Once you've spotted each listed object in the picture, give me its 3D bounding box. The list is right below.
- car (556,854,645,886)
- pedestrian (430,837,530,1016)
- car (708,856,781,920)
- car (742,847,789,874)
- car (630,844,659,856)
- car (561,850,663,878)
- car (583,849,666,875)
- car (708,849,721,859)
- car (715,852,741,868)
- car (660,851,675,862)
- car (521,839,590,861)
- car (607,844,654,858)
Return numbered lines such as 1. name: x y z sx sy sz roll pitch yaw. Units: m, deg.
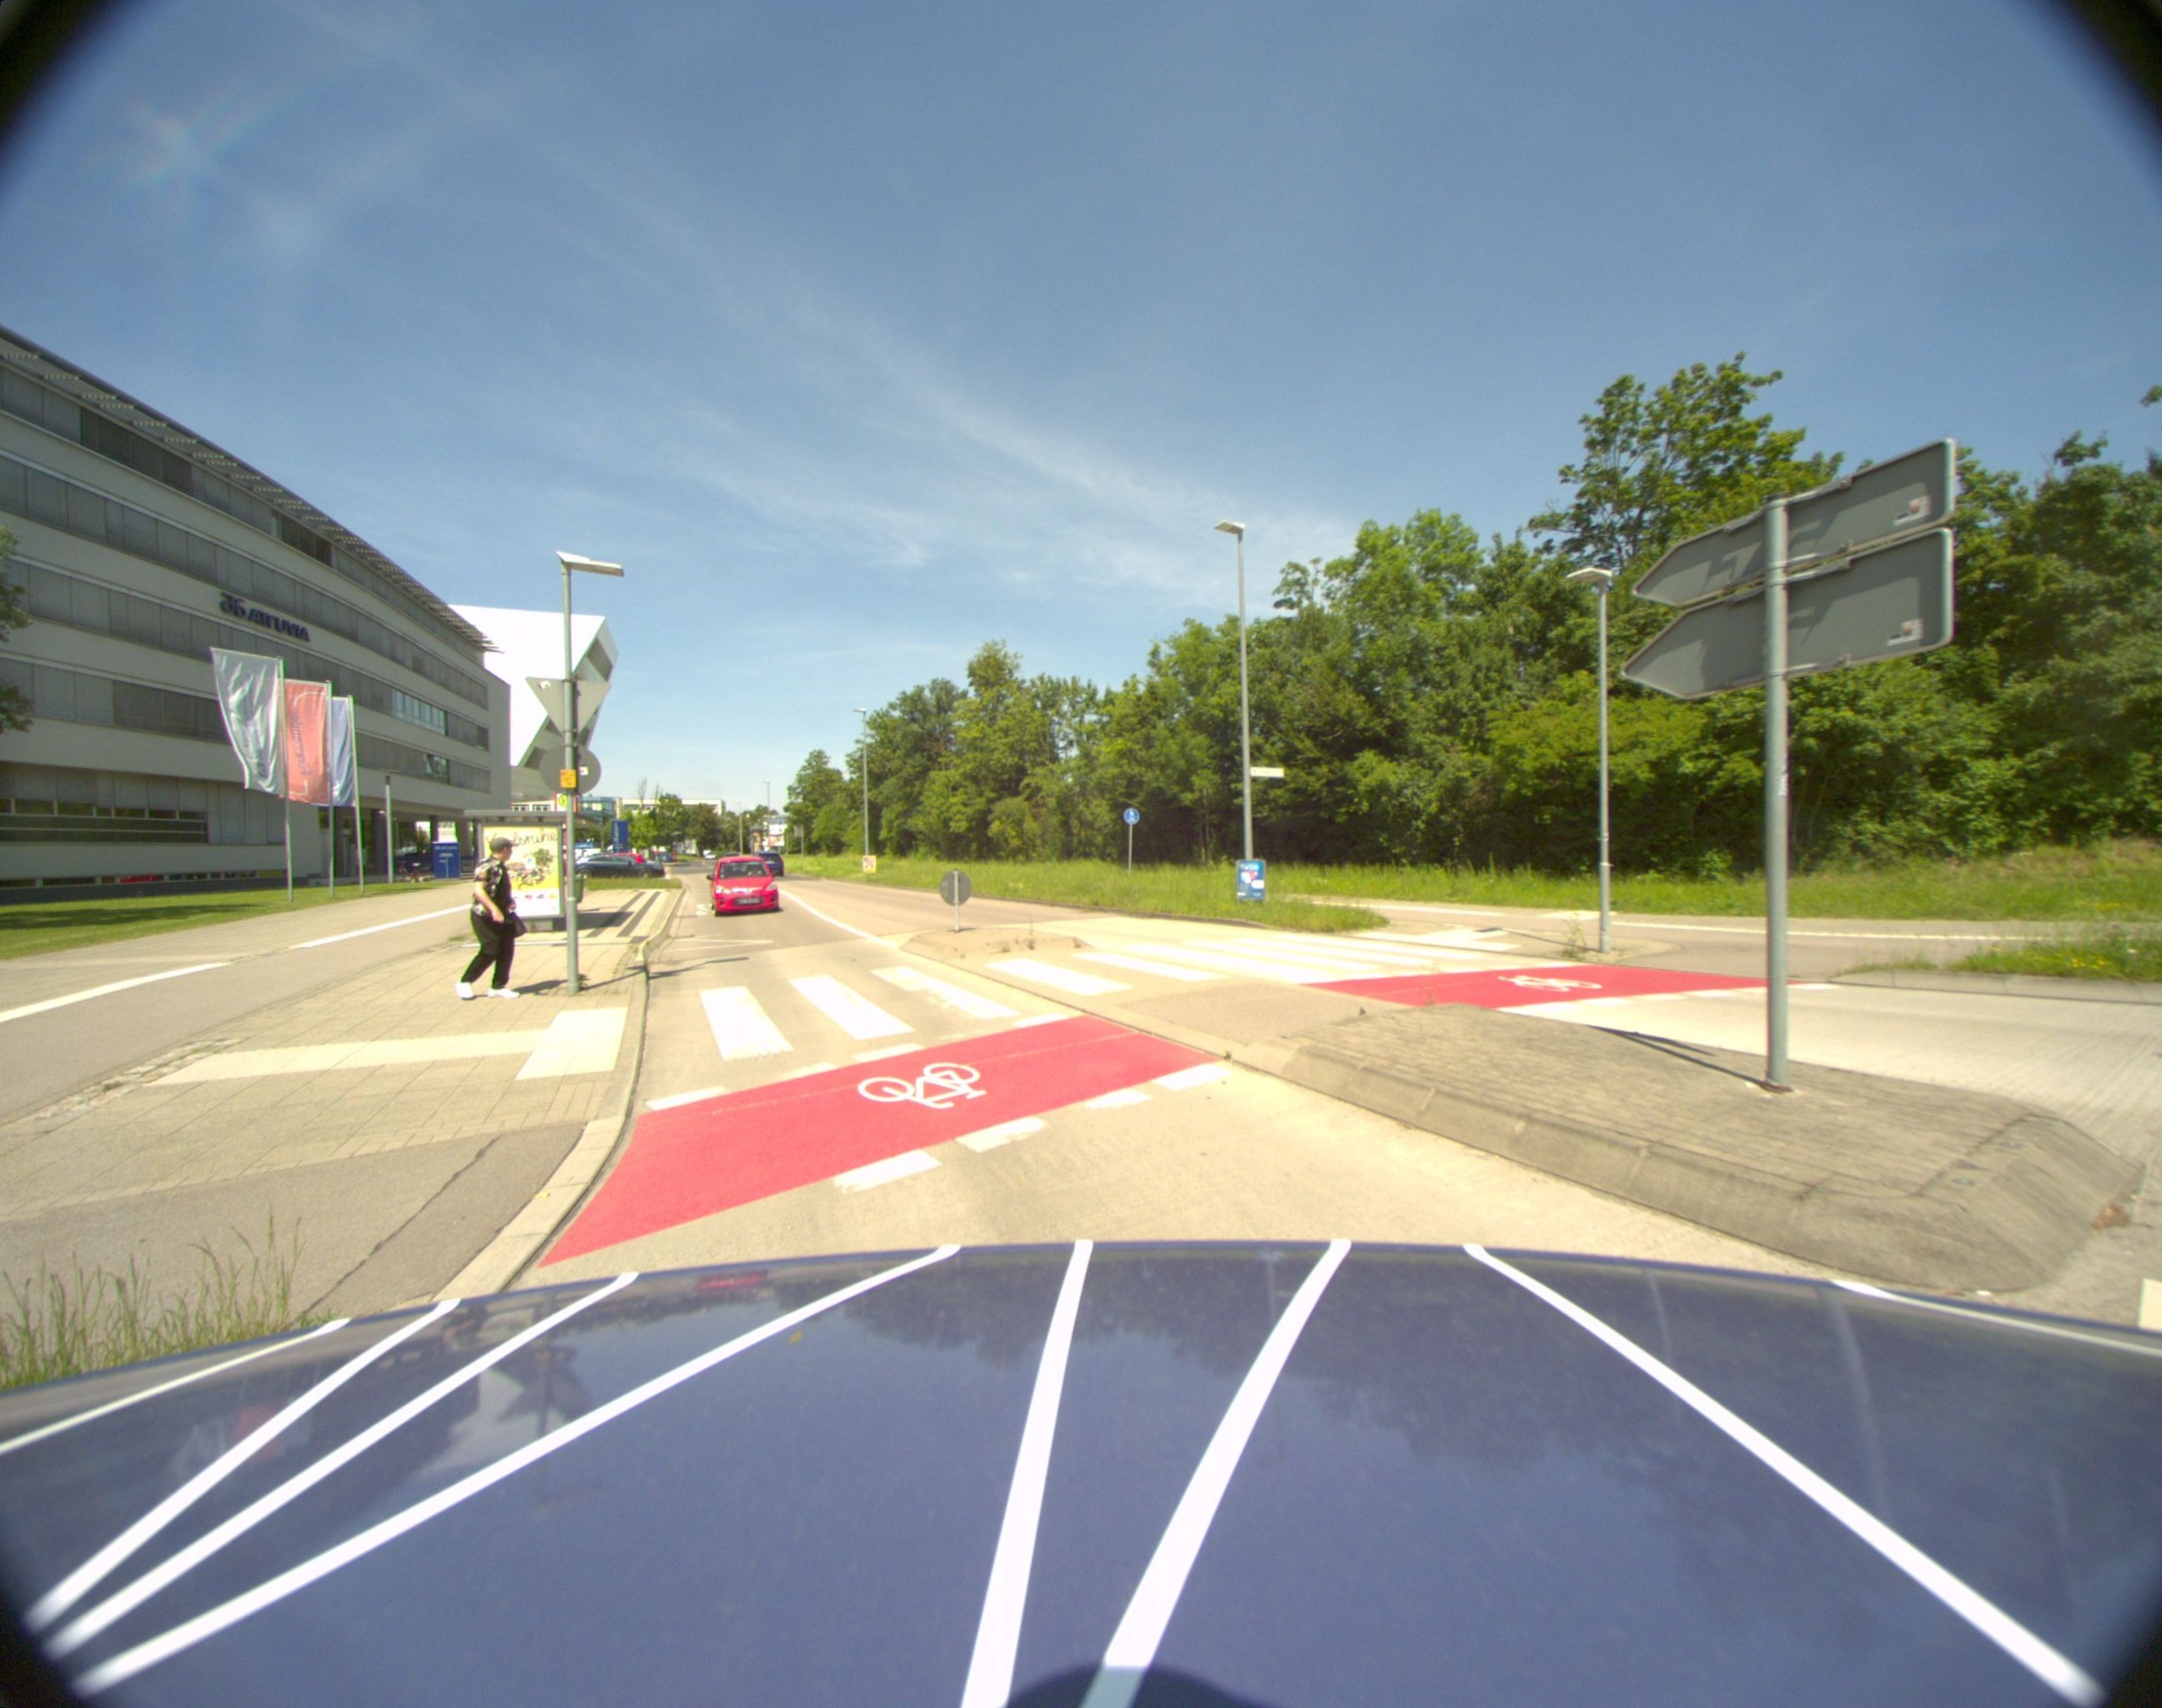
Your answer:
1. car: -27.017 0.846 42.867 4.005 1.646 1.835 -1 2 -26
2. pedestrian: -6.470 0.733 8.221 0.711 1.812 0.824 0 1 -28
3. car: -9.440 0.870 21.201 1.665 1.495 3.349 -3 2 -26
4. car: -19.868 0.420 47.755 2.003 1.586 4.312 -1 -1 -32
5. car: -76.859 -0.684 133.904 4.213 1.965 1.700 -3 2 -22
6. car: -25.089 0.533 40.827 4.590 1.423 1.823 0 1 -29
7. car: -28.332 0.487 47.307 4.341 1.554 1.782 0 1 -27
8. car: -68.056 0.007 141.070 2.002 1.622 3.991 -3 2 -26
9. car: -34.367 0.603 73.972 2.003 1.470 4.279 0 0 -29
10. car: -62.013 0.351 113.999 1.805 1.490 3.990 -3 2 -29
11. car: -69.310 -0.528 100.292 6.976 2.648 2.250 -3 2 -20
12. car: -75.813 -0.521 127.970 6.506 2.138 2.160 -3 2 -22
